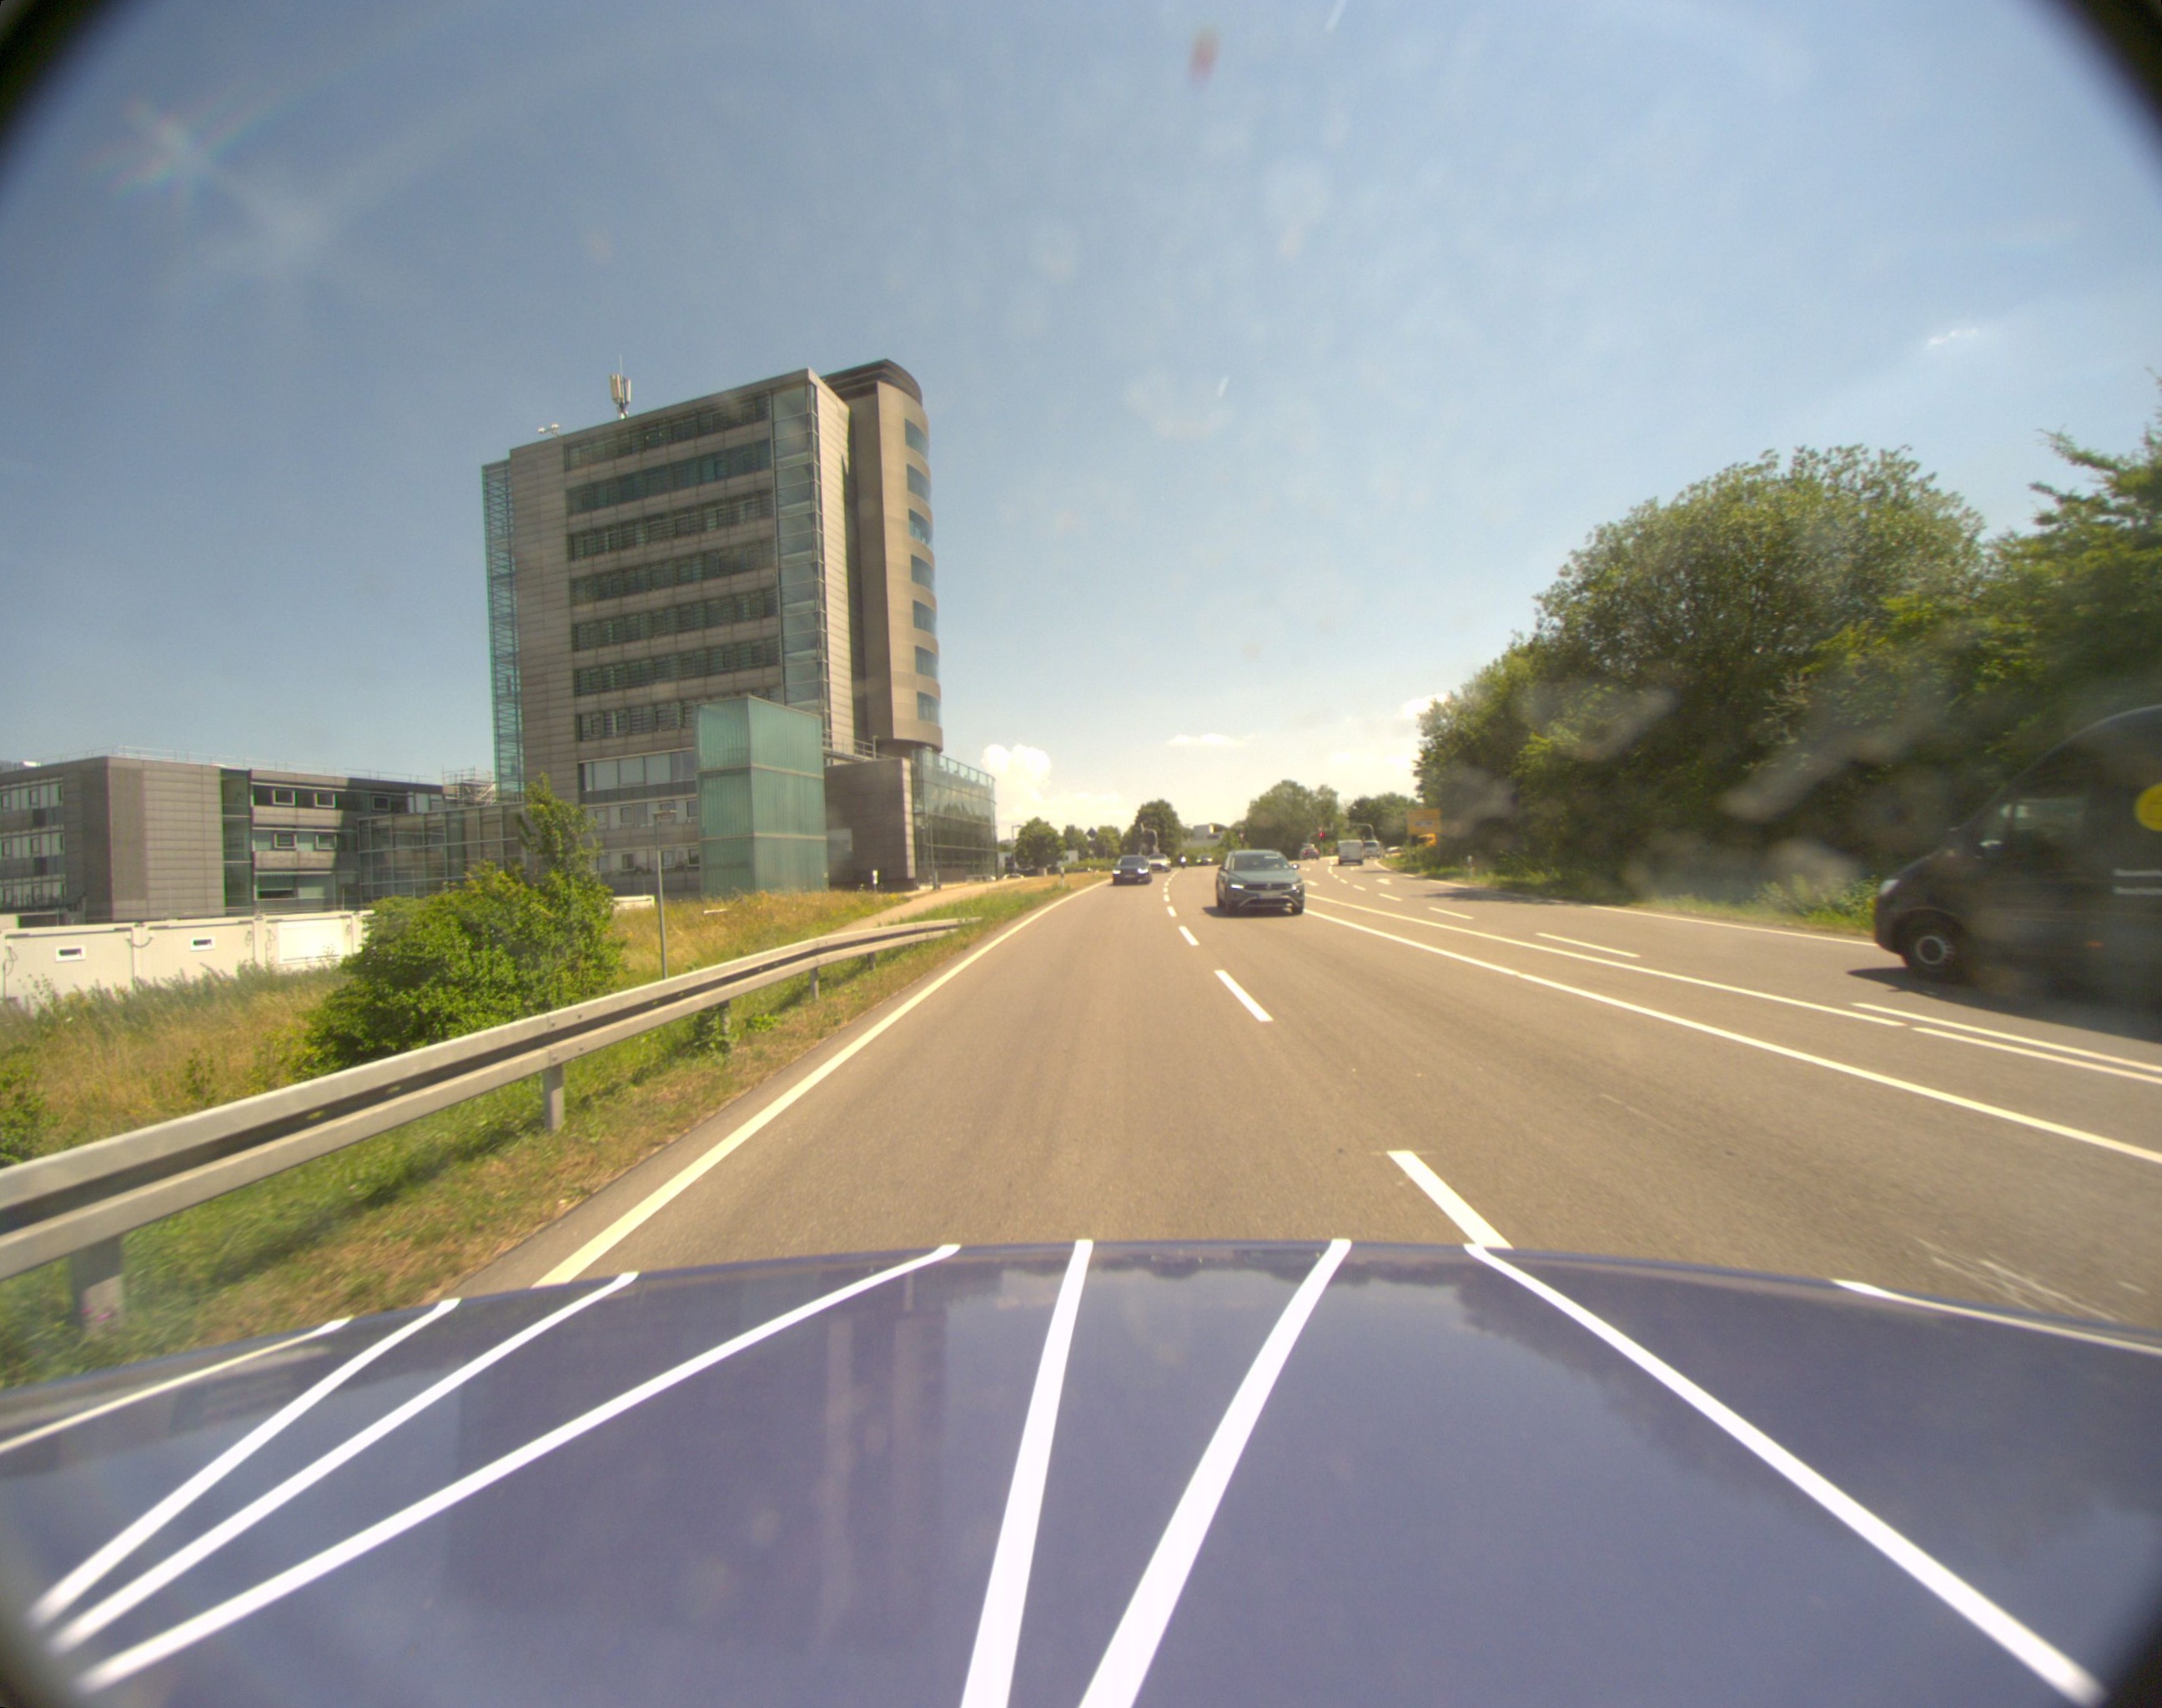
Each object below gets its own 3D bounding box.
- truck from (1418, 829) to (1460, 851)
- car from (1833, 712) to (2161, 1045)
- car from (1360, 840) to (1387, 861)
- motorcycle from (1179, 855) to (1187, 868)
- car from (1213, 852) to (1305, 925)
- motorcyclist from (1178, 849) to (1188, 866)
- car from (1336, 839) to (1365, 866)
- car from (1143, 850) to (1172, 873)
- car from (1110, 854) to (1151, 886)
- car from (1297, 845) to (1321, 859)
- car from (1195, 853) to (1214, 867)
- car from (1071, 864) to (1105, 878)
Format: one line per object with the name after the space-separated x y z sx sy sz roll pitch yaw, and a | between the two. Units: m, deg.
66.495 -2.596 141.018 6.863 3.516 2.981 -3 -1 -23 | truck
9.258 0.146 5.340 2.192 2.526 6.038 -3 0 4 | car
31.408 -0.363 81.536 1.976 2.001 4.849 -5 -2 28 | car
9.259 0.658 69.019 0.733 1.131 2.074 0 0 6 | motorcycle
4.382 0.776 19.282 1.838 1.577 4.393 -2 0 8 | car
9.251 0.314 68.971 0.860 1.479 1.162 -1 0 5 | motorcyclist
21.741 -0.121 61.252 2.078 2.002 5.815 -2 0 20 | car
5.958 0.613 58.789 1.933 1.576 4.183 -4 -2 8 | car
2.590 0.769 38.888 1.779 1.497 4.564 -1 0 7 | car
26.813 -0.253 89.406 1.997 1.430 4.226 -4 -1 9 | car
14.589 0.690 89.987 2.116 1.582 4.453 -2 0 9 | car
0.996 2.294 104.686 4.353 1.589 1.937 -4 -1 -8 | car
